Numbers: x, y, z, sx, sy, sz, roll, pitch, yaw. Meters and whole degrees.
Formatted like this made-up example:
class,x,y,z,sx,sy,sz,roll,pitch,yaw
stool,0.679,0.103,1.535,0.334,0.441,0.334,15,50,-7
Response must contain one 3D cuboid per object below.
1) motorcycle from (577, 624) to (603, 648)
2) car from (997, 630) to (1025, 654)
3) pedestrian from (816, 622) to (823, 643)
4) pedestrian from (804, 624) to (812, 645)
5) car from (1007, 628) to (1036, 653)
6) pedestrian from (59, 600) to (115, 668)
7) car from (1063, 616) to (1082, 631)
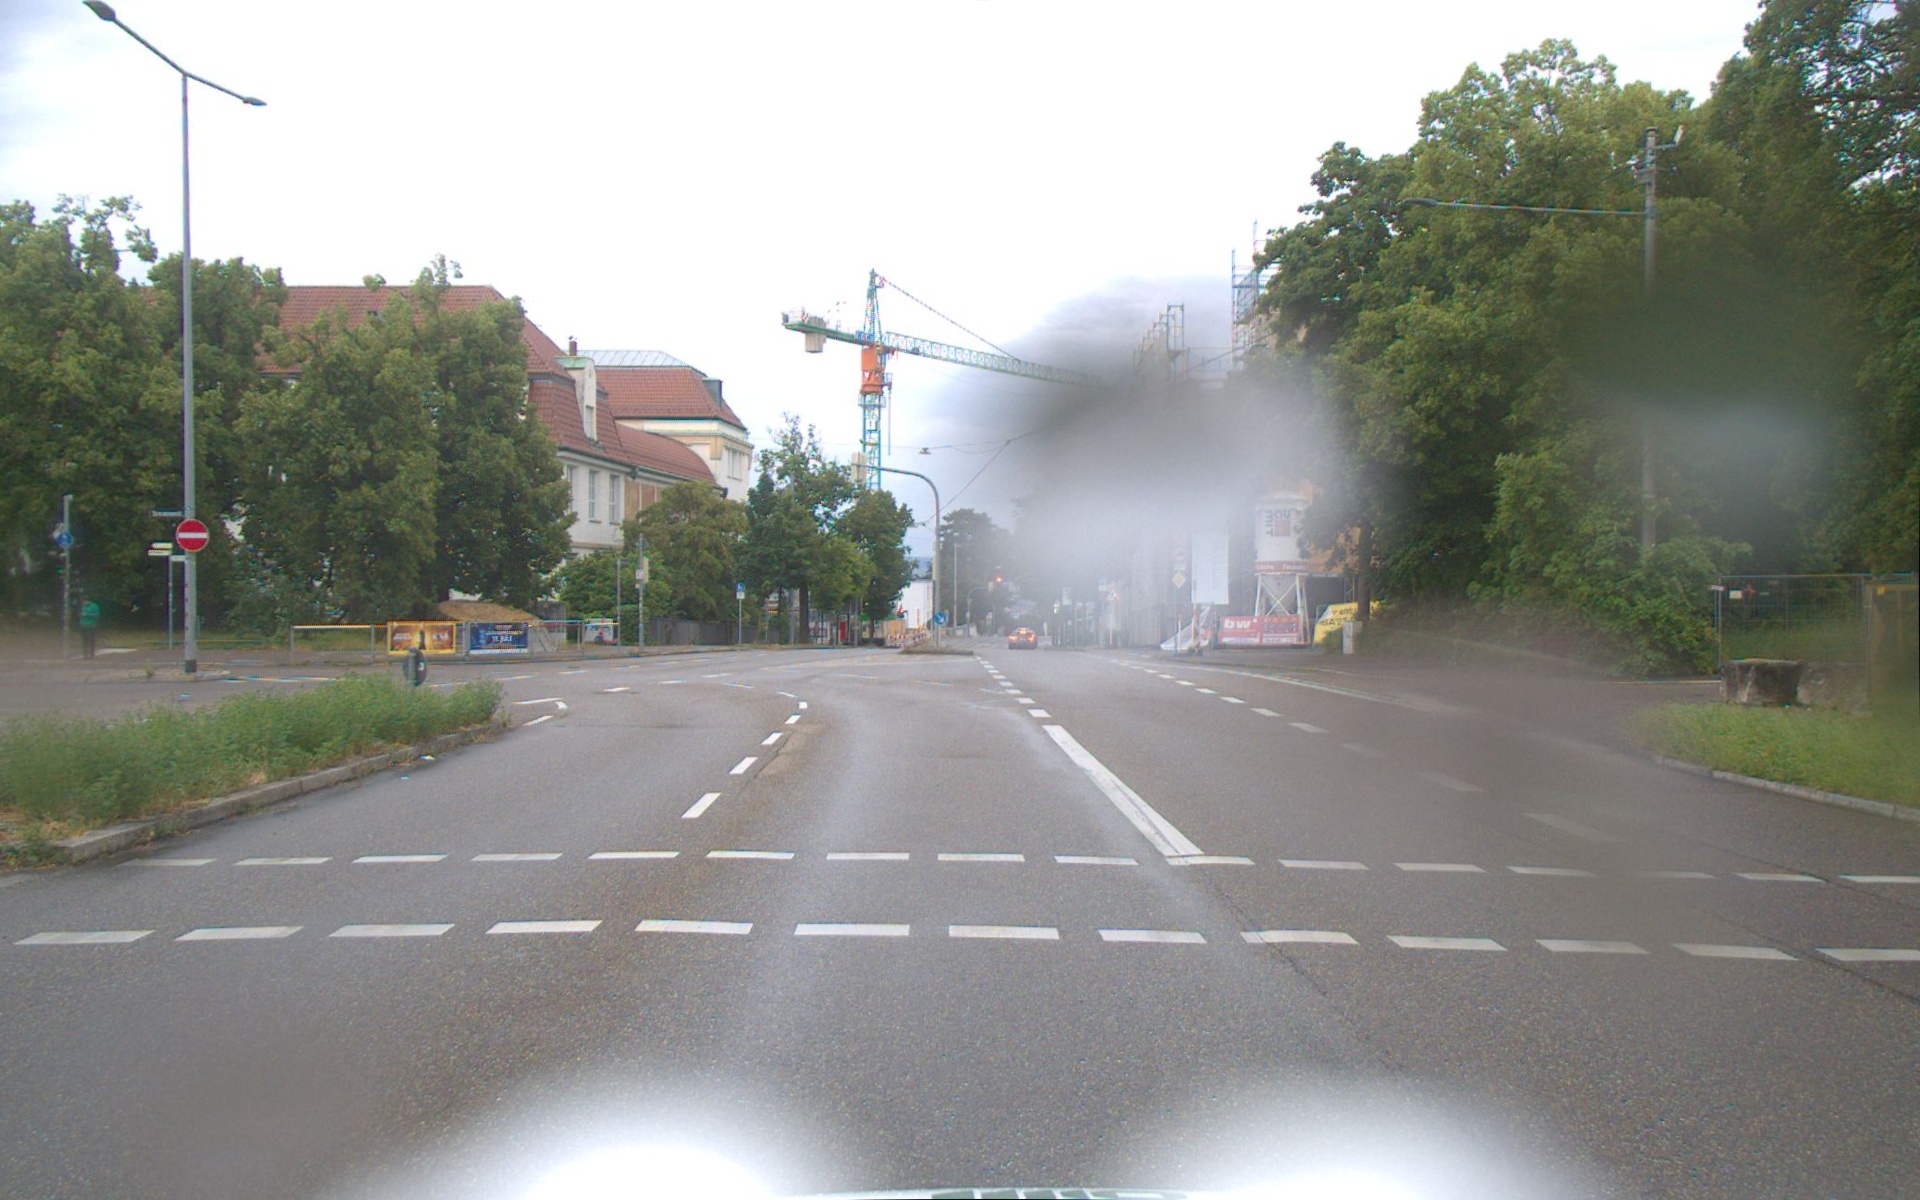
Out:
class,x,y,z,sx,sy,sz,roll,pitch,yaw
motorcycle,-14.442,1.410,64.569,0.832,0.893,0.877,1,0,-1
car,4.043,3.318,131.438,1.953,1.780,3.999,-1,0,-1
pedestrian,-9.586,2.231,112.711,0.465,1.421,0.411,0,0,-1
pedestrian,-10.367,2.323,112.948,0.465,1.421,0.411,0,0,-1
car,4.625,3.071,124.882,1.953,1.780,3.999,-1,0,-1
pedestrian,-23.154,0.887,43.879,0.903,1.757,0.946,1,0,3
car,14.944,3.113,219.525,1.951,1.780,4.003,-1,0,10
